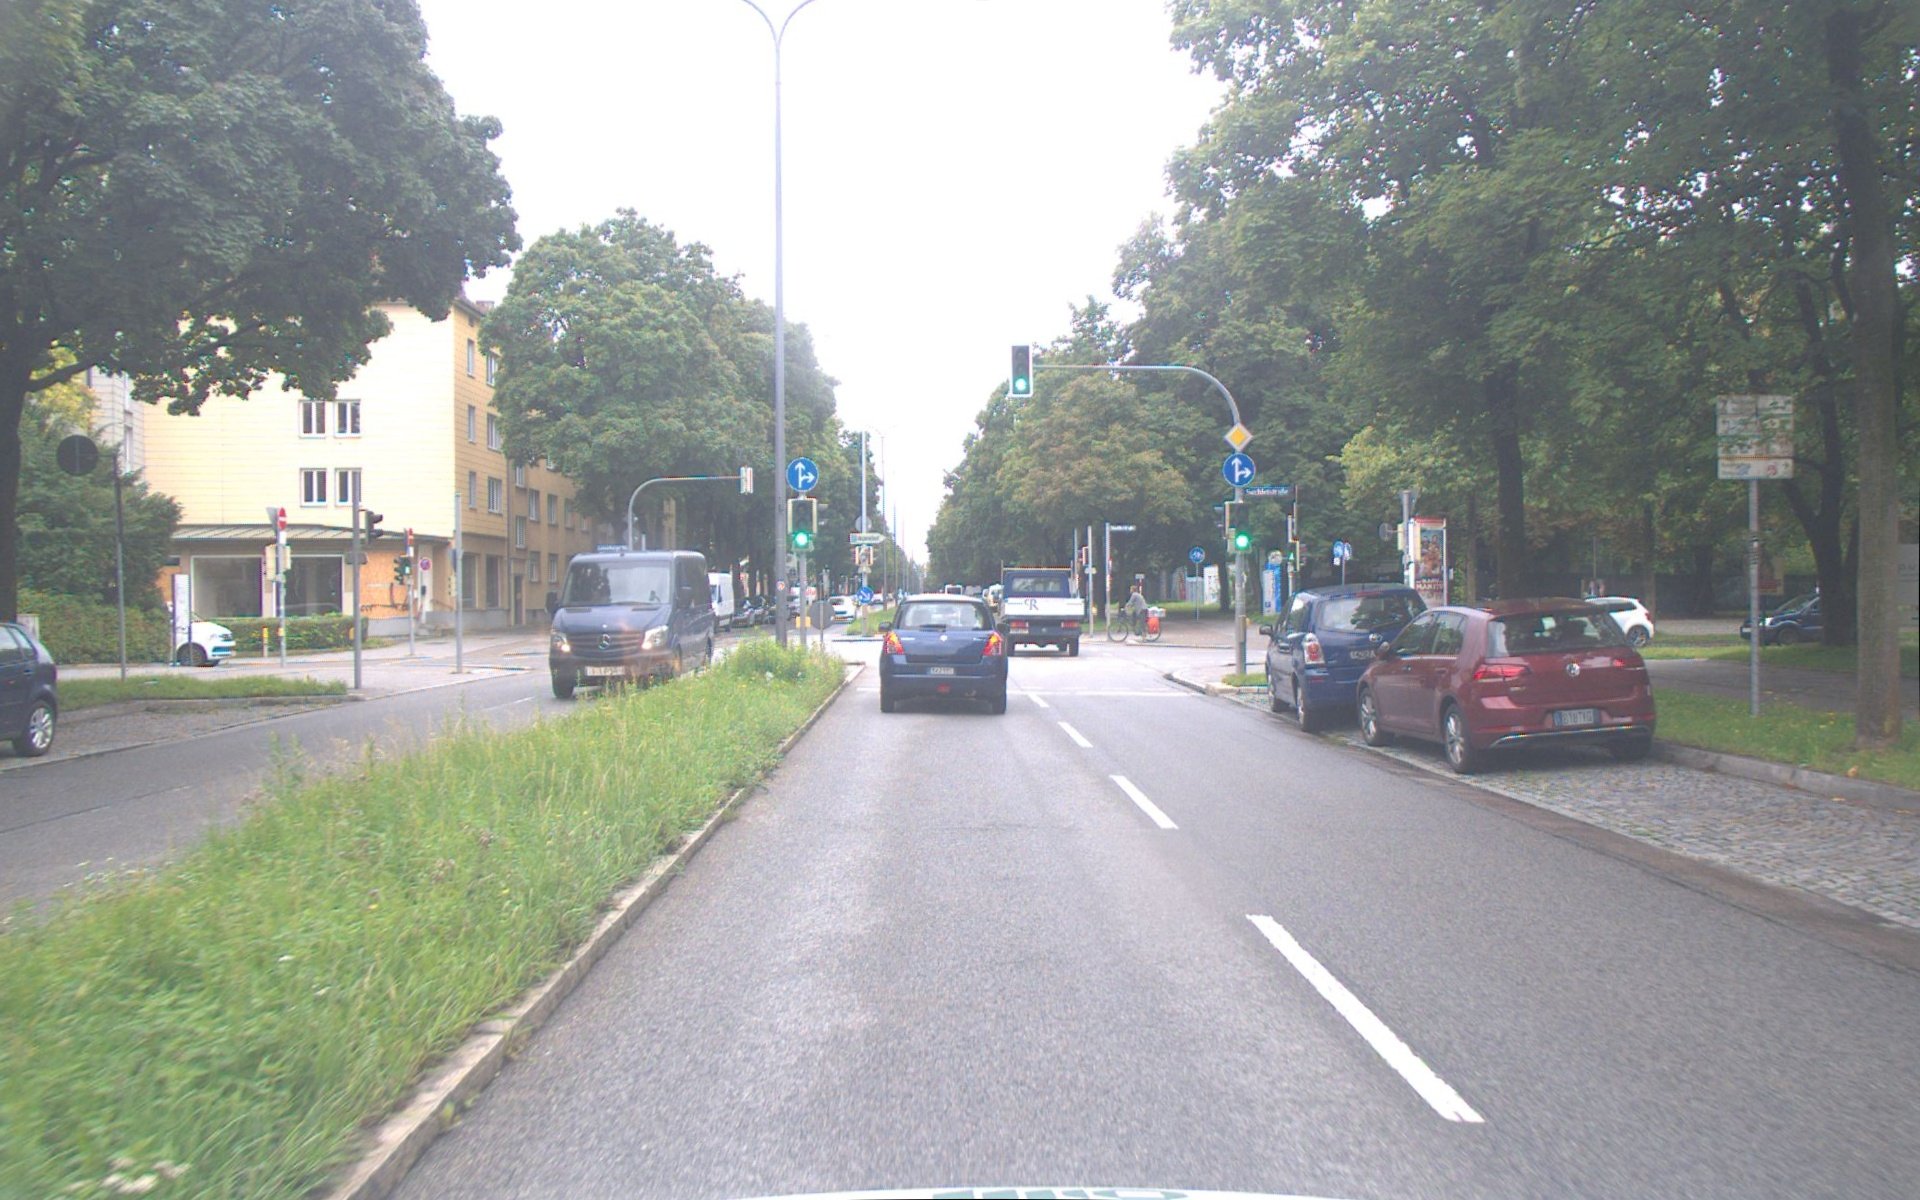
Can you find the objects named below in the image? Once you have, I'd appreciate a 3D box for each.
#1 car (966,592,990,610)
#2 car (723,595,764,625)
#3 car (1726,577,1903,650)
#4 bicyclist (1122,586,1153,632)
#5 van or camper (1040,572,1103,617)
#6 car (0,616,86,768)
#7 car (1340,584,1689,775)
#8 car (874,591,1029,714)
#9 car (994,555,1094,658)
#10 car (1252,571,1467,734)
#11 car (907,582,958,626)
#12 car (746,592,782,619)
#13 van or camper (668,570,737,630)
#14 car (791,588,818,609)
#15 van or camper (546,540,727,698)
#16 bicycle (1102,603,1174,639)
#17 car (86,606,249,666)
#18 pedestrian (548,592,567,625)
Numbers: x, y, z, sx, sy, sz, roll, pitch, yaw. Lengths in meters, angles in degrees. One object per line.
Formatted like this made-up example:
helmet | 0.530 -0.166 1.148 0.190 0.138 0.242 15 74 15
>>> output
car | 1.577 0.099 144.283 1.751 1.525 3.657 0 0 -4
car | -11.115 0.488 85.028 1.603 1.467 3.734 -1 0 -1
car | 23.518 0.346 45.615 3.799 1.638 1.933 -5 0 5
bicyclist | 5.826 0.299 54.346 0.911 1.505 0.990 0 0 0
van or camper | 4.731 -0.235 70.637 2.083 1.825 4.504 0 0 -4
car | -10.434 0.933 16.278 1.532 1.475 3.838 2 0 1
car | 5.127 0.645 15.944 1.678 1.449 4.281 -5 1 -2
car | -0.200 0.647 22.377 1.859 1.525 3.657 0 0 -4
car | 2.104 0.144 43.051 2.369 2.487 5.087 0 0 0
car | 4.861 0.560 20.712 1.726 1.686 4.285 -5 1 3
car | -1.006 0.135 59.649 1.763 1.525 3.659 -1 0 -2
car | -11.126 0.279 94.111 1.603 1.467 3.734 -1 0 -1
van or camper | -11.384 -0.025 73.603 2.096 2.519 6.258 -1 0 -1
car | -11.265 -0.133 119.923 1.603 1.467 3.734 -1 0 -1
van or camper | -5.232 0.255 27.634 1.982 2.300 6.019 -1 0 -2
bicycle | 5.837 0.687 54.347 2.250 1.133 0.996 0 0 0
car | -22.378 1.008 46.796 3.792 1.589 1.669 -1 0 -8
pedestrian | -18.150 0.365 74.565 0.616 1.465 0.806 1 0 -1
